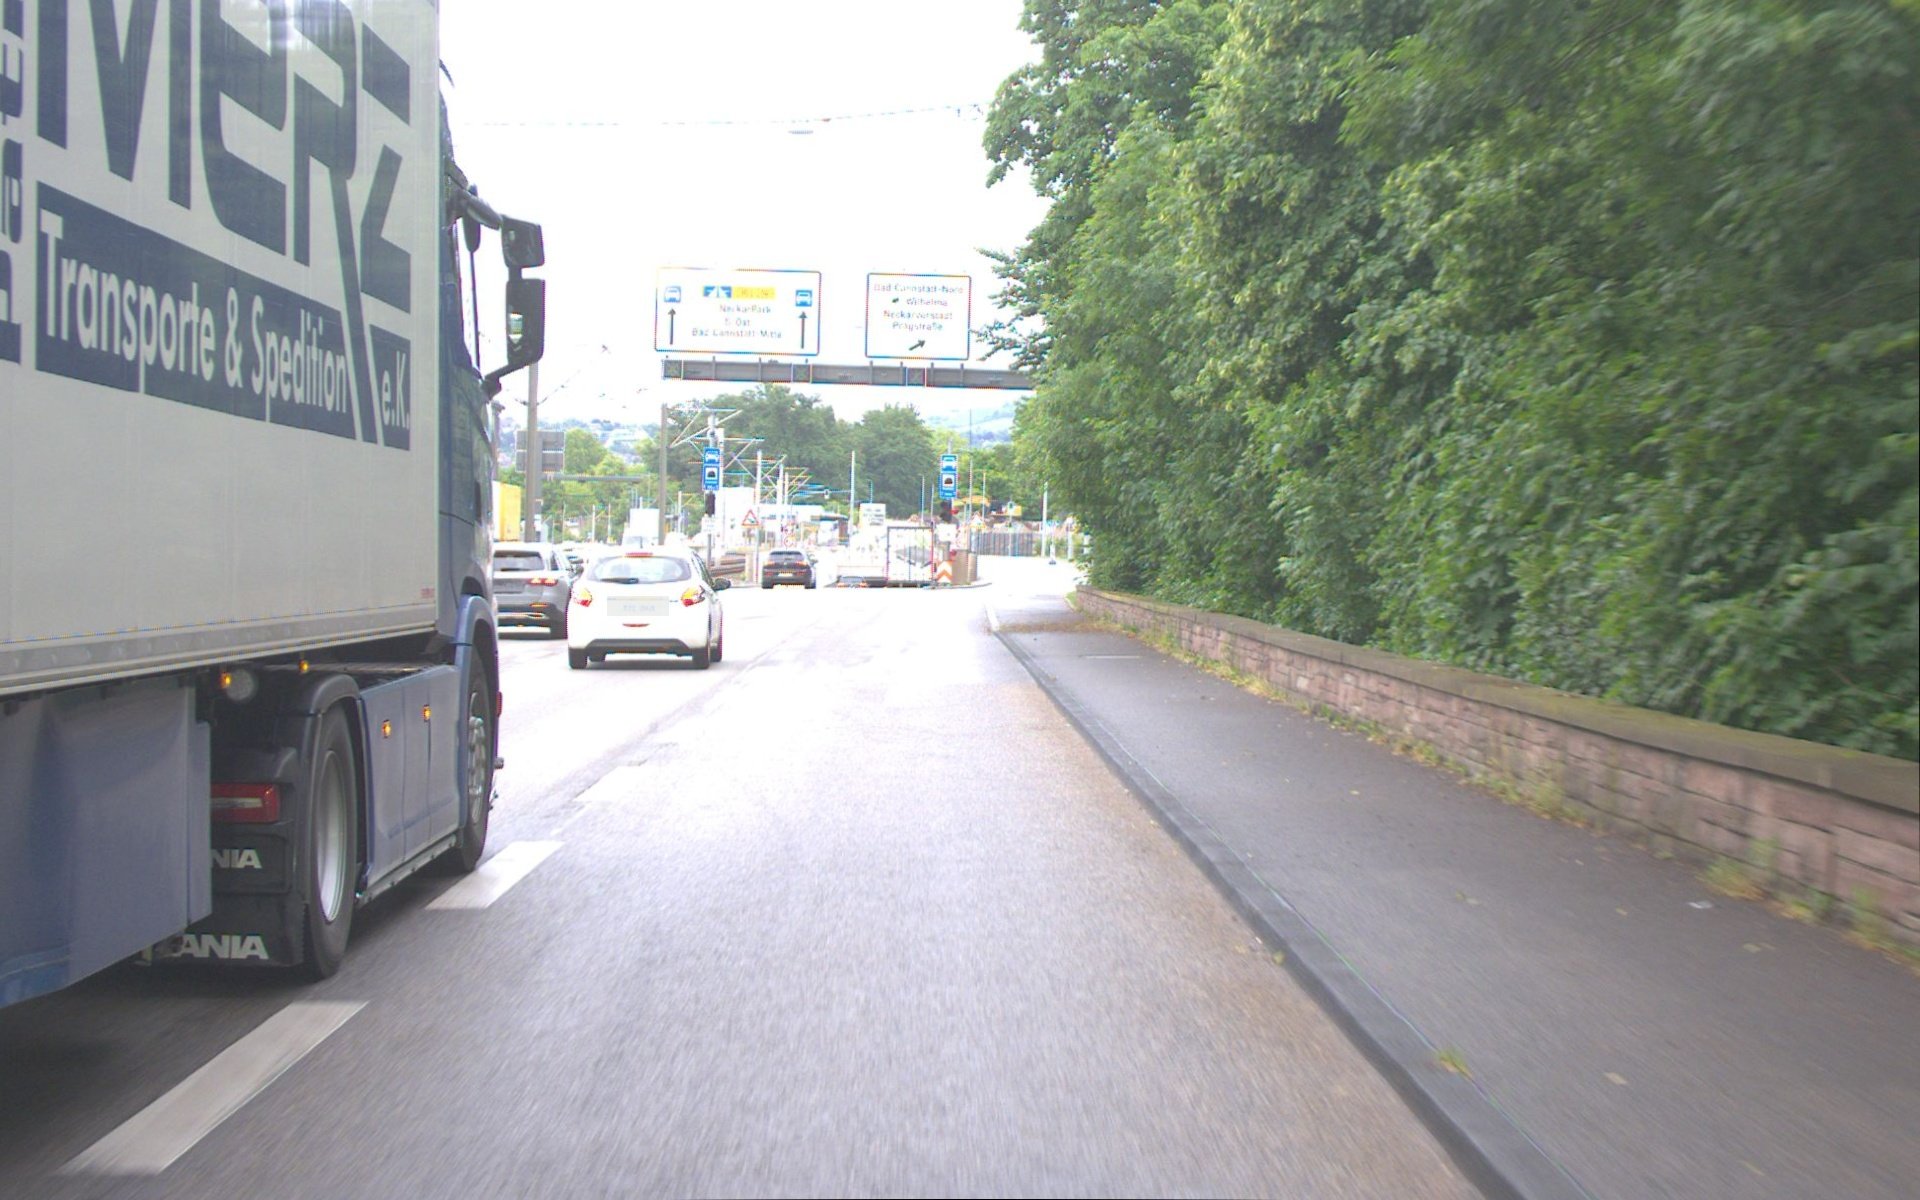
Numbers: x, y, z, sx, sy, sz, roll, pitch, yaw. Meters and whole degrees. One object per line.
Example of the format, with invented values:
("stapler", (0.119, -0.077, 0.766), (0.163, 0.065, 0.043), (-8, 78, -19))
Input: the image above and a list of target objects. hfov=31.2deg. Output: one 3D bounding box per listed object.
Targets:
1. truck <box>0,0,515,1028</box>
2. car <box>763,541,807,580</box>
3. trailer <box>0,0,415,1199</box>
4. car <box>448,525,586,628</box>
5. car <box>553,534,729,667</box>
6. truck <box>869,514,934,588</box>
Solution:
("truck", (-3.510, -0.828, 13.816), (2.756, 4.190, 6.307), (0, 1, -1))
("car", (-6.240, -1.413, 122.721), (1.426, 1.349, 2.960), (1, 1, -1))
("trailer", (-3.388, -0.672, 6.707), (2.762, 4.238, 13.184), (0, 1, -1))
("car", (-6.941, -0.403, 54.174), (1.681, 1.441, 4.001), (1, 2, -1))
("car", (-3.862, -0.033, 42.156), (1.810, 1.419, 4.001), (1, 2, -1))
("truck", (-3.276, -2.728, 193.442), (3.518, 4.026, 8.074), (1, 0, 0))
